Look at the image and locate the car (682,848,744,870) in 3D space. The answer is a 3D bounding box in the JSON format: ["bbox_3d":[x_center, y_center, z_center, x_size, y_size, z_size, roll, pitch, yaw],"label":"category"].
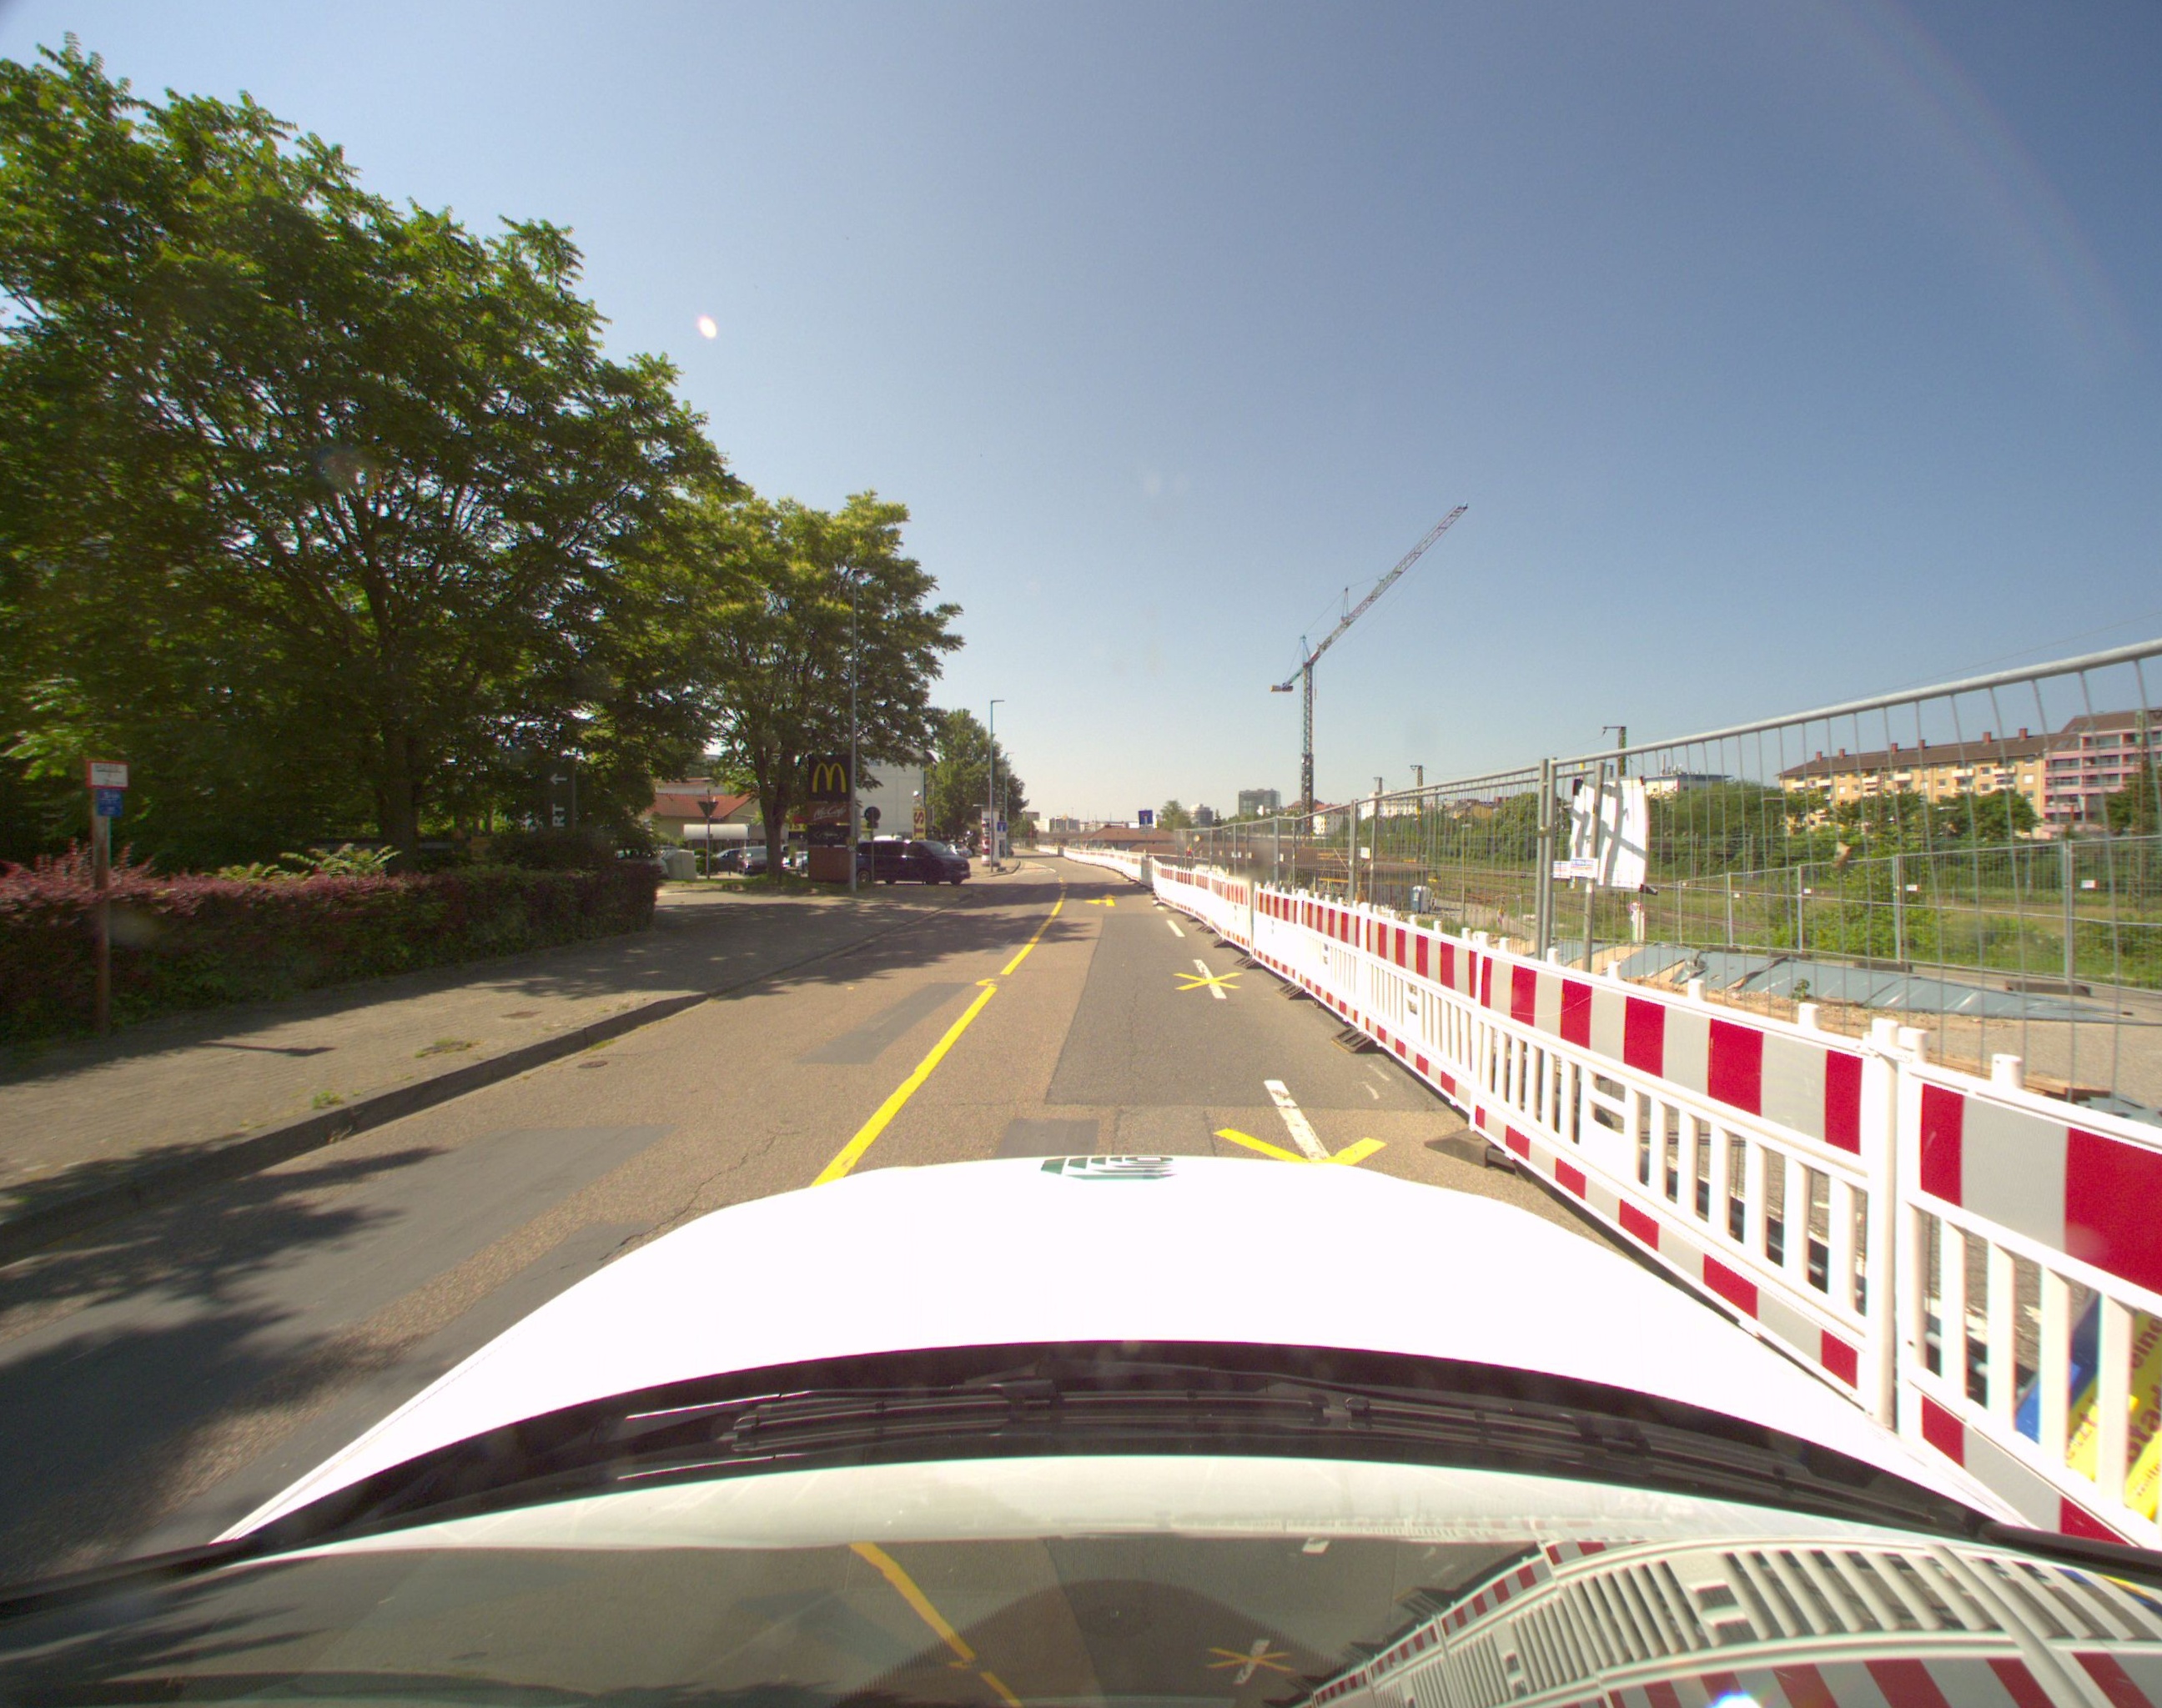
[{"bbox_3d":[-24.272,0.308,53.809,3.693,1.420,1.560,0,0,-25],"label":"car"}]

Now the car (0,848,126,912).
[{"bbox_3d":[-22.660,0.533,16.854,1.463,1.299,3.461,0,1,12],"label":"car"}]

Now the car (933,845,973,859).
[{"bbox_3d":[-12.995,-0.188,82.884,3.647,1.420,1.579,0,0,16],"label":"car"}]

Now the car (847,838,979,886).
[{"bbox_3d":[-7.214,0.297,34.914,5.317,1.935,2.011,0,1,23],"label":"car"}]

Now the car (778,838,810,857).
[{"bbox_3d":[-22.476,-0.516,63.695,1.578,1.420,3.650,0,0,-33],"label":"car"}]

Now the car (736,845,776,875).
[{"bbox_3d":[-19.704,0.310,49.279,2.004,1.727,3.967,-1,1,-25],"label":"car"}]

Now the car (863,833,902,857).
[{"bbox_3d":[-16.597,-0.715,68.046,1.837,1.929,3.957,0,0,-36],"label":"car"}]

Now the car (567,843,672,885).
[{"bbox_3d":[-17.893,0.338,31.541,3.949,1.532,1.832,0,1,31],"label":"car"}]
